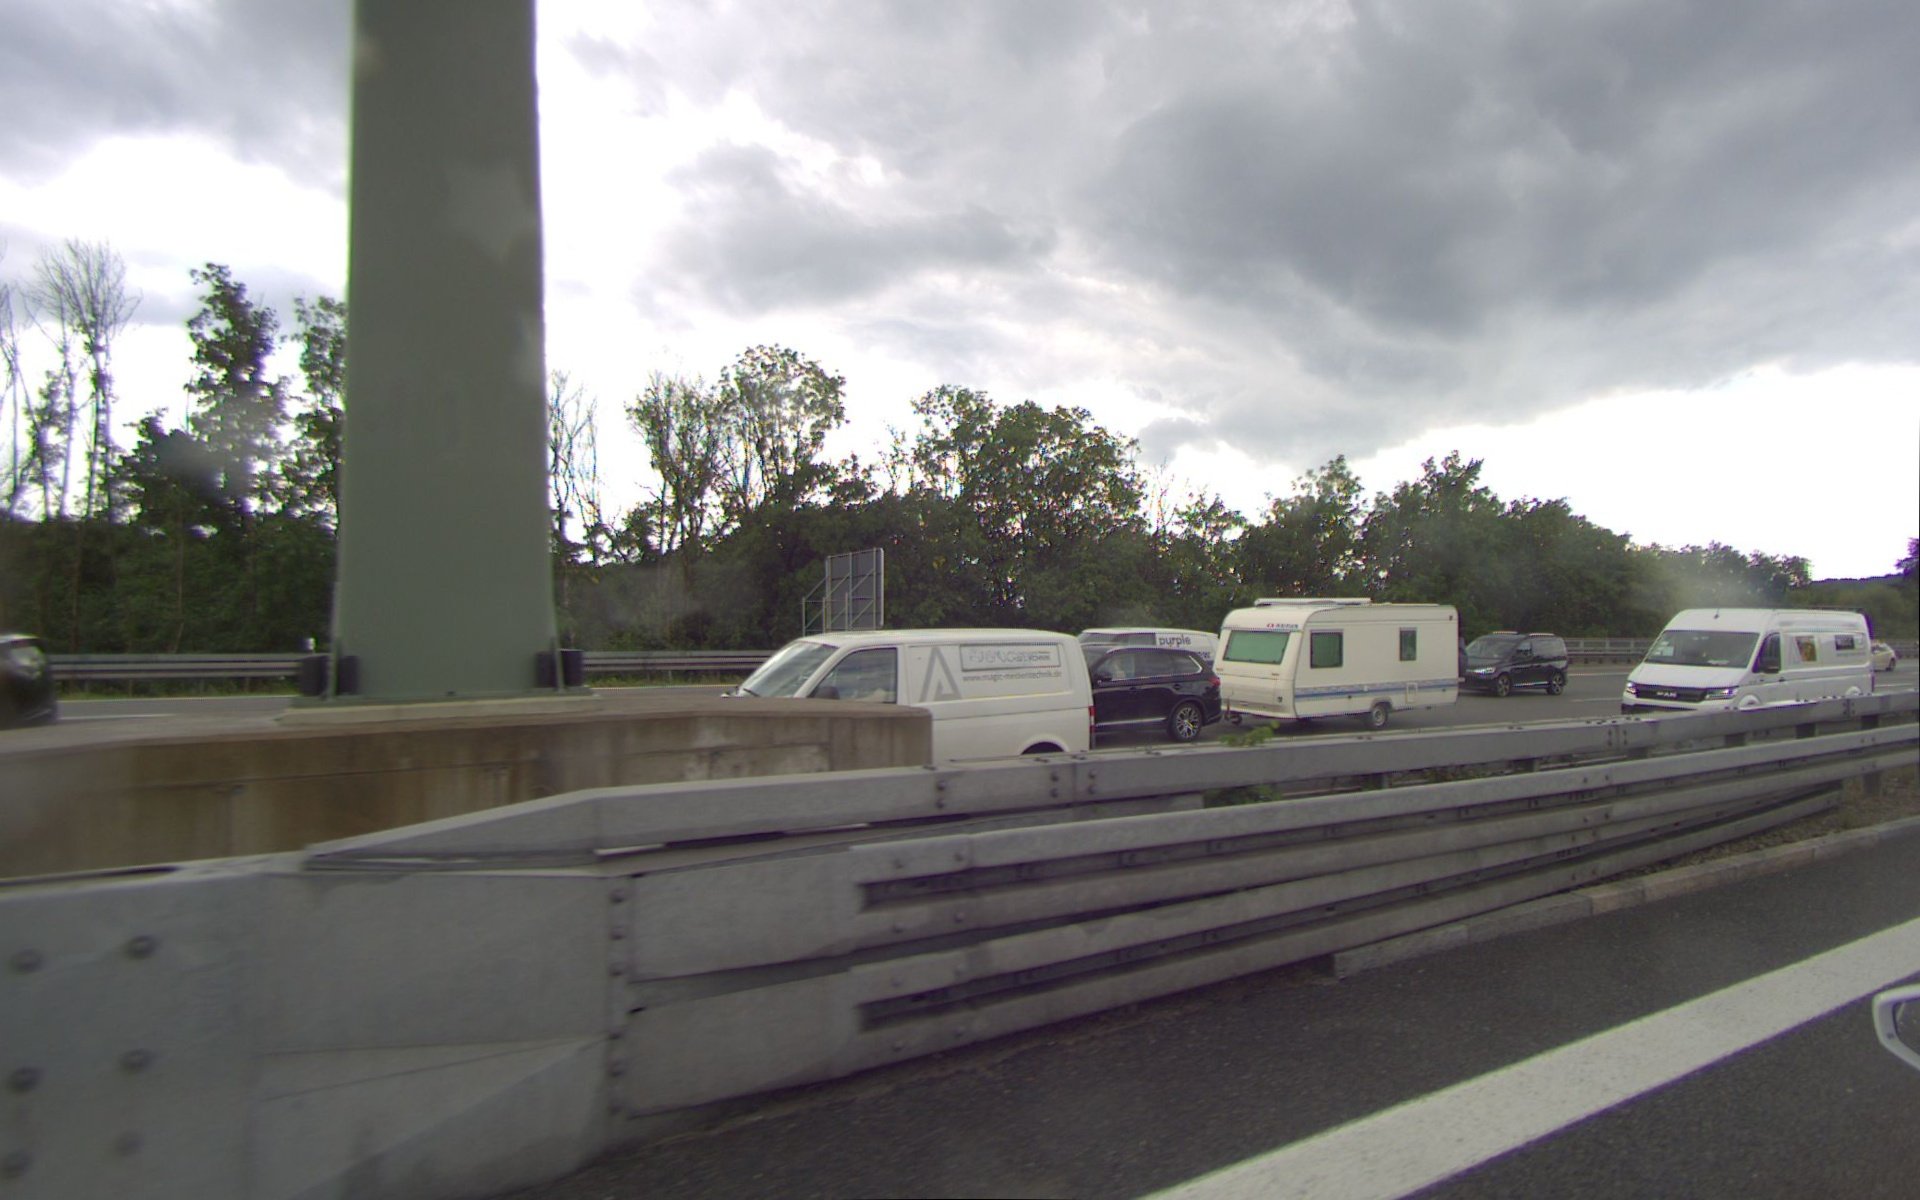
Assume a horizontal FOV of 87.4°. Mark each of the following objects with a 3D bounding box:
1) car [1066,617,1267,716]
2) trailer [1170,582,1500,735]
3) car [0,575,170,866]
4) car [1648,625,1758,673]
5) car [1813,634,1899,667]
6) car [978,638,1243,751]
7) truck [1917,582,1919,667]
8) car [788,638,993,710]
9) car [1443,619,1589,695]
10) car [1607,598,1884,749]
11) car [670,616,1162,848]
[{"bbox_3d":[4.841,1.476,23.377,4.426,2.105,1.973,1,-2,-31],"label":"car"},{"bbox_3d":[7.778,1.120,20.515,7.097,2.688,2.331,1,-2,-30],"label":"trailer"},{"bbox_3d":[-8.603,0.778,6.392,5.361,1.929,1.809,1,-2,-31],"label":"car"},{"bbox_3d":[31.706,2.038,42.816,5.077,1.937,1.885,1,-2,-30],"label":"car"},{"bbox_3d":[45.784,2.545,51.297,4.845,1.614,1.885,1,-2,-31],"label":"car"},{"bbox_3d":[2.680,1.548,17.638,4.424,1.700,1.810,1,0,-30],"label":"car"},{"bbox_3d":[53.069,1.281,51.303,12.149,4.167,2.785,1,-1,-30],"label":"truck"},{"bbox_3d":[-1.609,1.669,23.590,4.426,1.514,1.973,1,-2,-31],"label":"car"},{"bbox_3d":[16.564,1.646,29.877,4.426,2.105,1.809,1,-1,-31],"label":"car"},{"bbox_3d":[16.319,1.400,20.704,7.226,2.713,2.014,1,-2,-31],"label":"car"},{"bbox_3d":[-0.351,1.266,11.267,5.312,2.105,1.809,1,-2,-31],"label":"car"}]
